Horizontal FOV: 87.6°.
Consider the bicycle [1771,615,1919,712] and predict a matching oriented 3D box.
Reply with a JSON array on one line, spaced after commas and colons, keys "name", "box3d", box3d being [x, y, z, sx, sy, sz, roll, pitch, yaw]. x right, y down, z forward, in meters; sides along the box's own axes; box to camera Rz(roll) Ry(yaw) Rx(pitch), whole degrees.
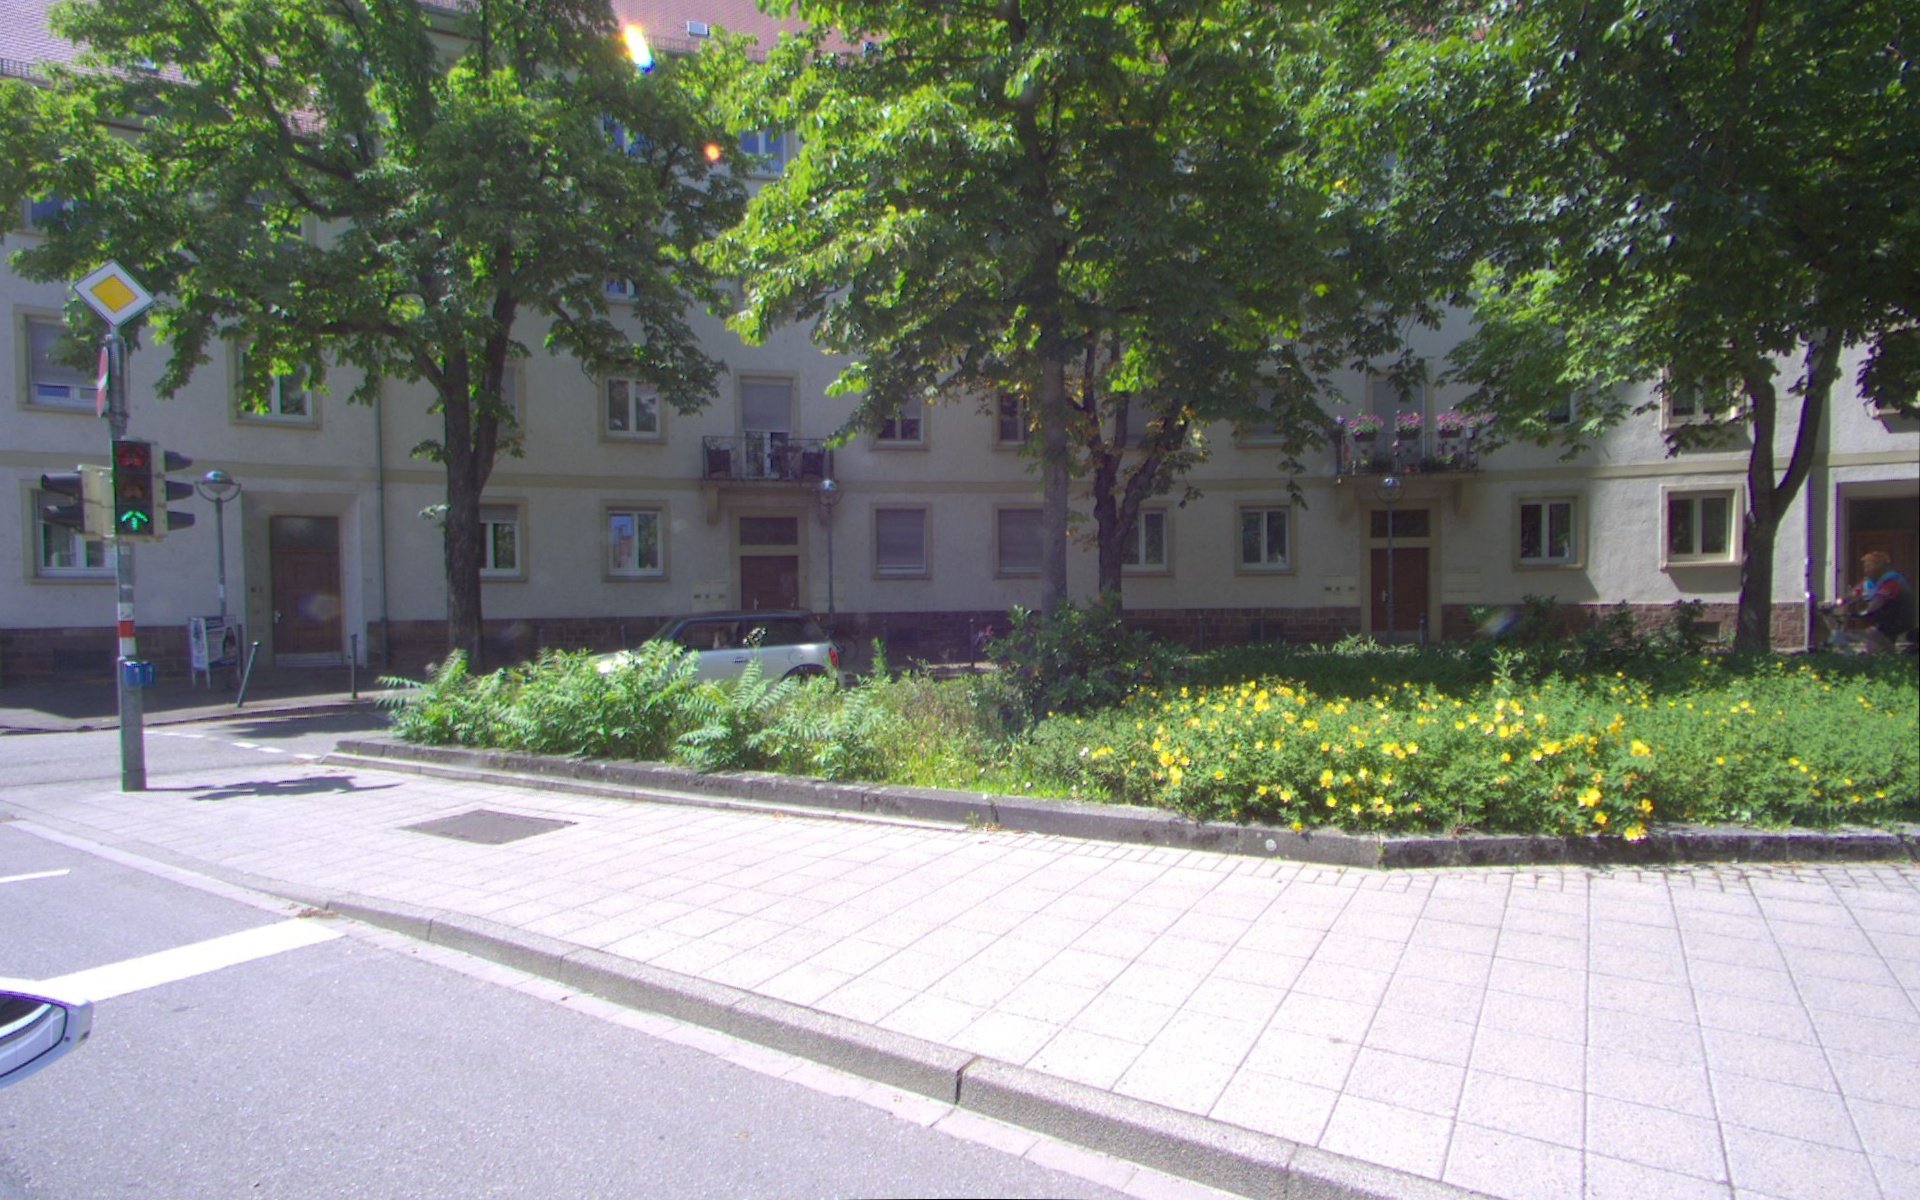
[{"name": "bicycle", "box3d": [11.377, 0.775, 12.523, 1.772, 1.170, 0.680, 0, 1, 20]}]

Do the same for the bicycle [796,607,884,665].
[{"name": "bicycle", "box3d": [-2.481, 0.736, 20.818, 1.769, 1.170, 0.640, -1, 1, -2]}]

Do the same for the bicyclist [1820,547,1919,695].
[{"name": "bicyclist", "box3d": [11.414, 0.258, 12.480, 0.849, 1.790, 0.697, 0, 1, 20]}]

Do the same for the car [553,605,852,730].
[{"name": "car", "box3d": [-3.328, 0.815, 13.233, 3.561, 1.465, 1.693, -1, 0, -14]}]
